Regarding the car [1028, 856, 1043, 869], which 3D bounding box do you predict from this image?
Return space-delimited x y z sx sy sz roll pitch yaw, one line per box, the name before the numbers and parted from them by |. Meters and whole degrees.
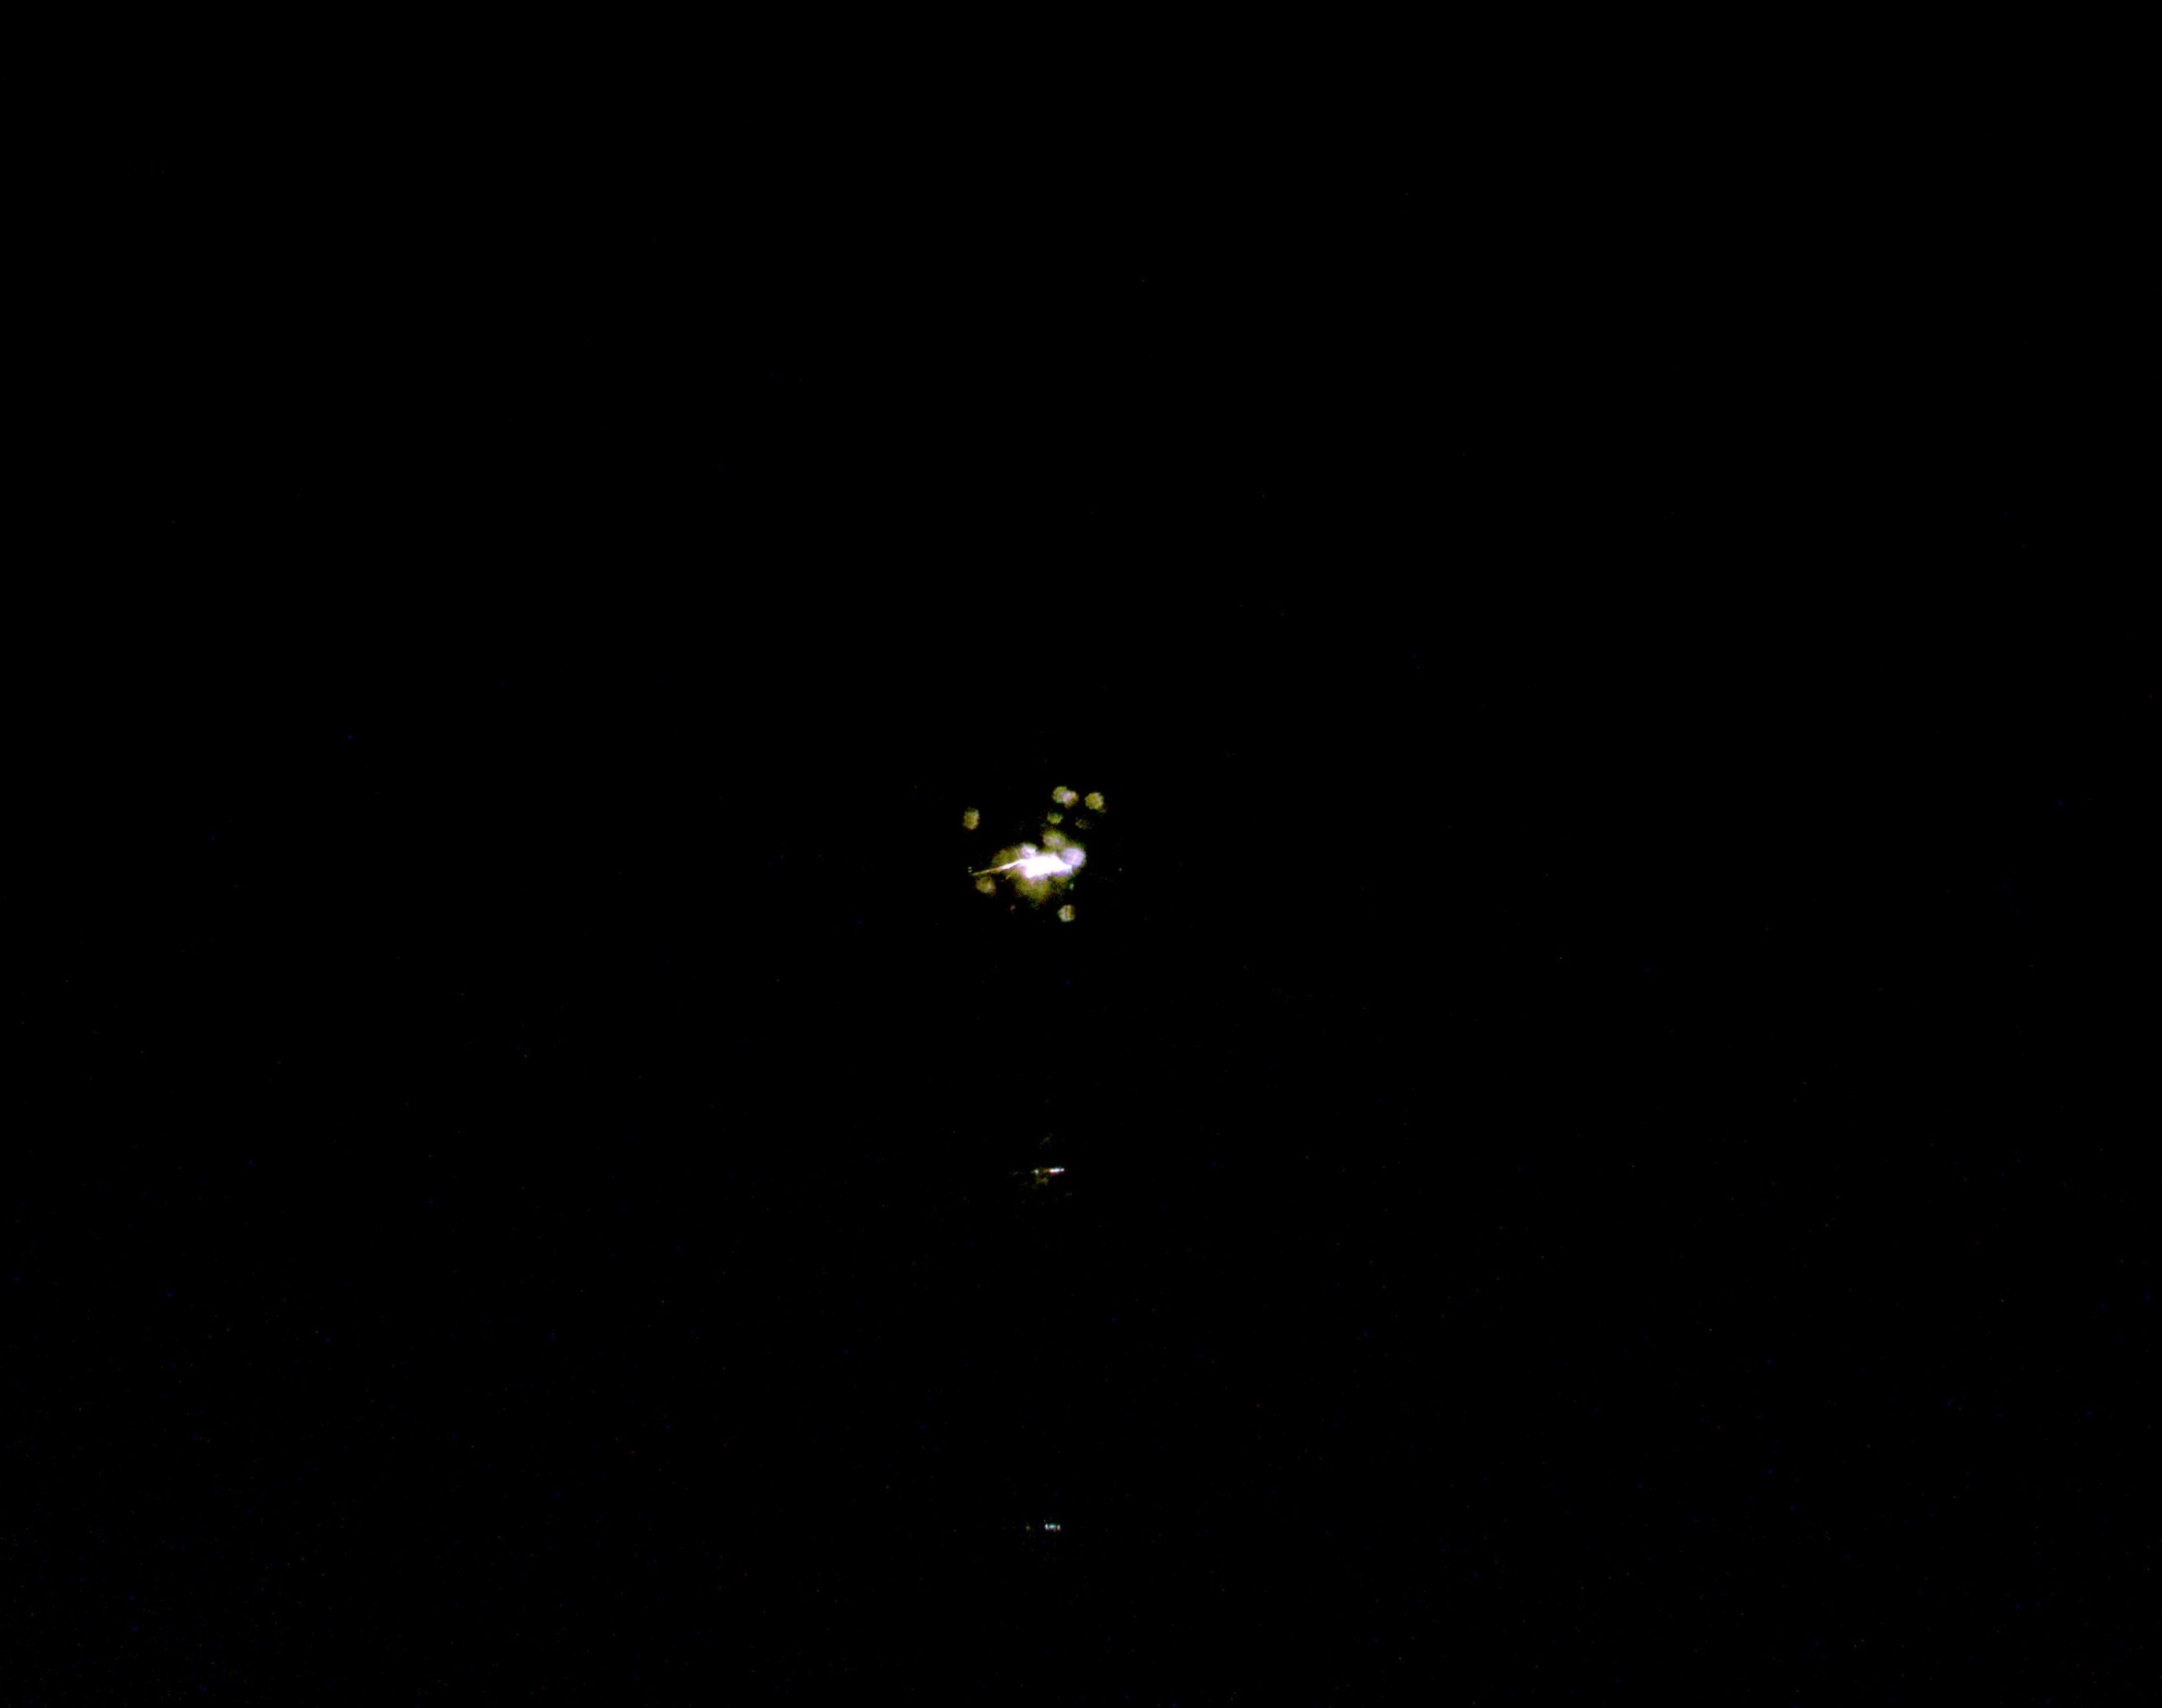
car | -5.647 1.030 100.558 1.717 1.613 3.999 0 0 -2
